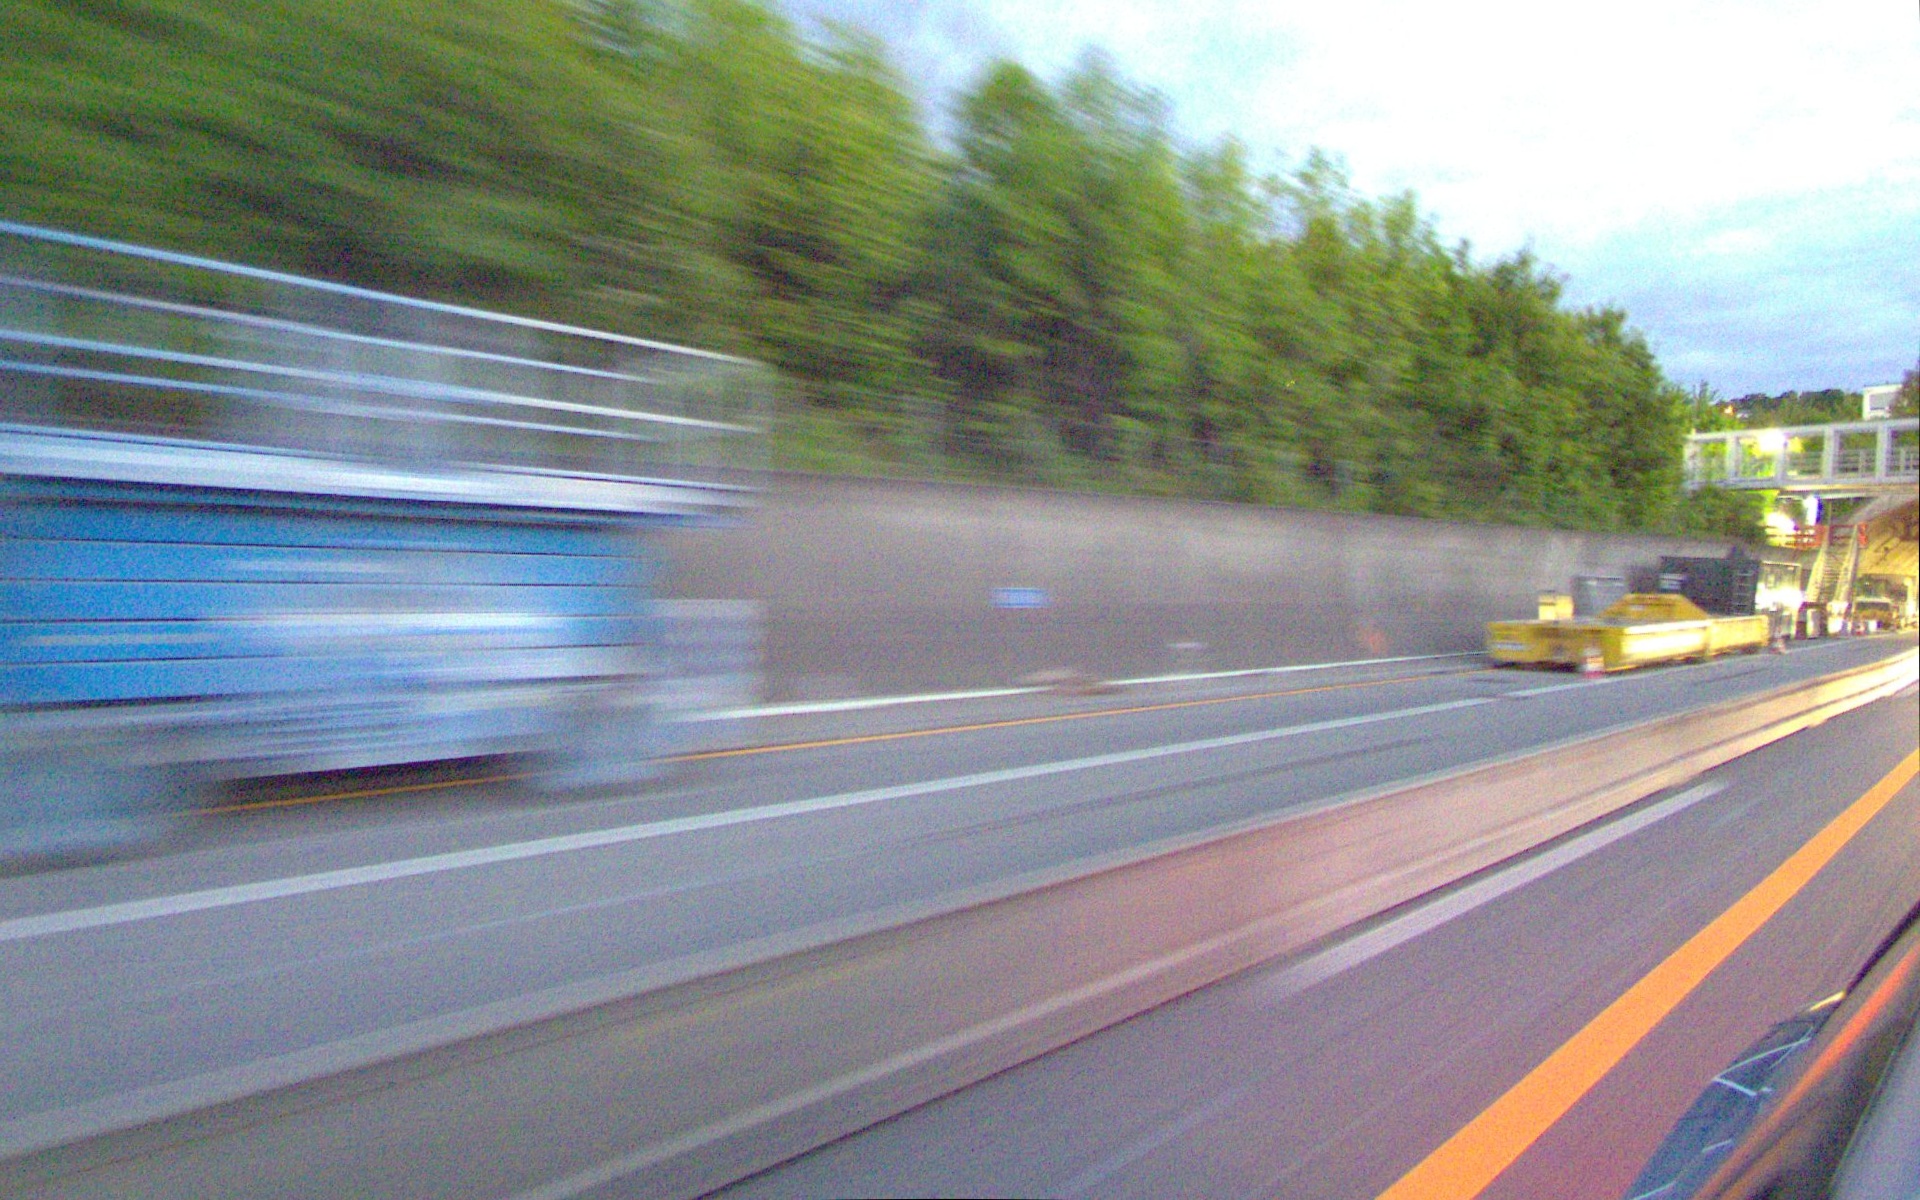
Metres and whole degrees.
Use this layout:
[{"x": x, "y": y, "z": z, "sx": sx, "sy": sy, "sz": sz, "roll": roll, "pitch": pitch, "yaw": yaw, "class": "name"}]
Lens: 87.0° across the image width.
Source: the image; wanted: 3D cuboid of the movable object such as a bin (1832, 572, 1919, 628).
[{"x": 50.021, "y": -0.009, "z": 55.180, "sx": 7.074, "sy": 2.863, "sz": 2.973, "roll": 0, "pitch": 0, "yaw": -43, "class": "movable object such as a bin"}]

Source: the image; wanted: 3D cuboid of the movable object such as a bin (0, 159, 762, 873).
[{"x": -4.373, "y": -0.444, "z": 6.608, "sx": 5.482, "sy": 3.359, "sz": 2.569, "roll": 0, "pitch": 2, "yaw": -41, "class": "movable object such as a bin"}]

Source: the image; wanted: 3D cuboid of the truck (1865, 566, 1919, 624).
[{"x": 57.826, "y": -0.322, "z": 61.713, "sx": 8.206, "sy": 3.327, "sz": 2.823, "roll": 0, "pitch": 0, "yaw": -41, "class": "truck"}]
